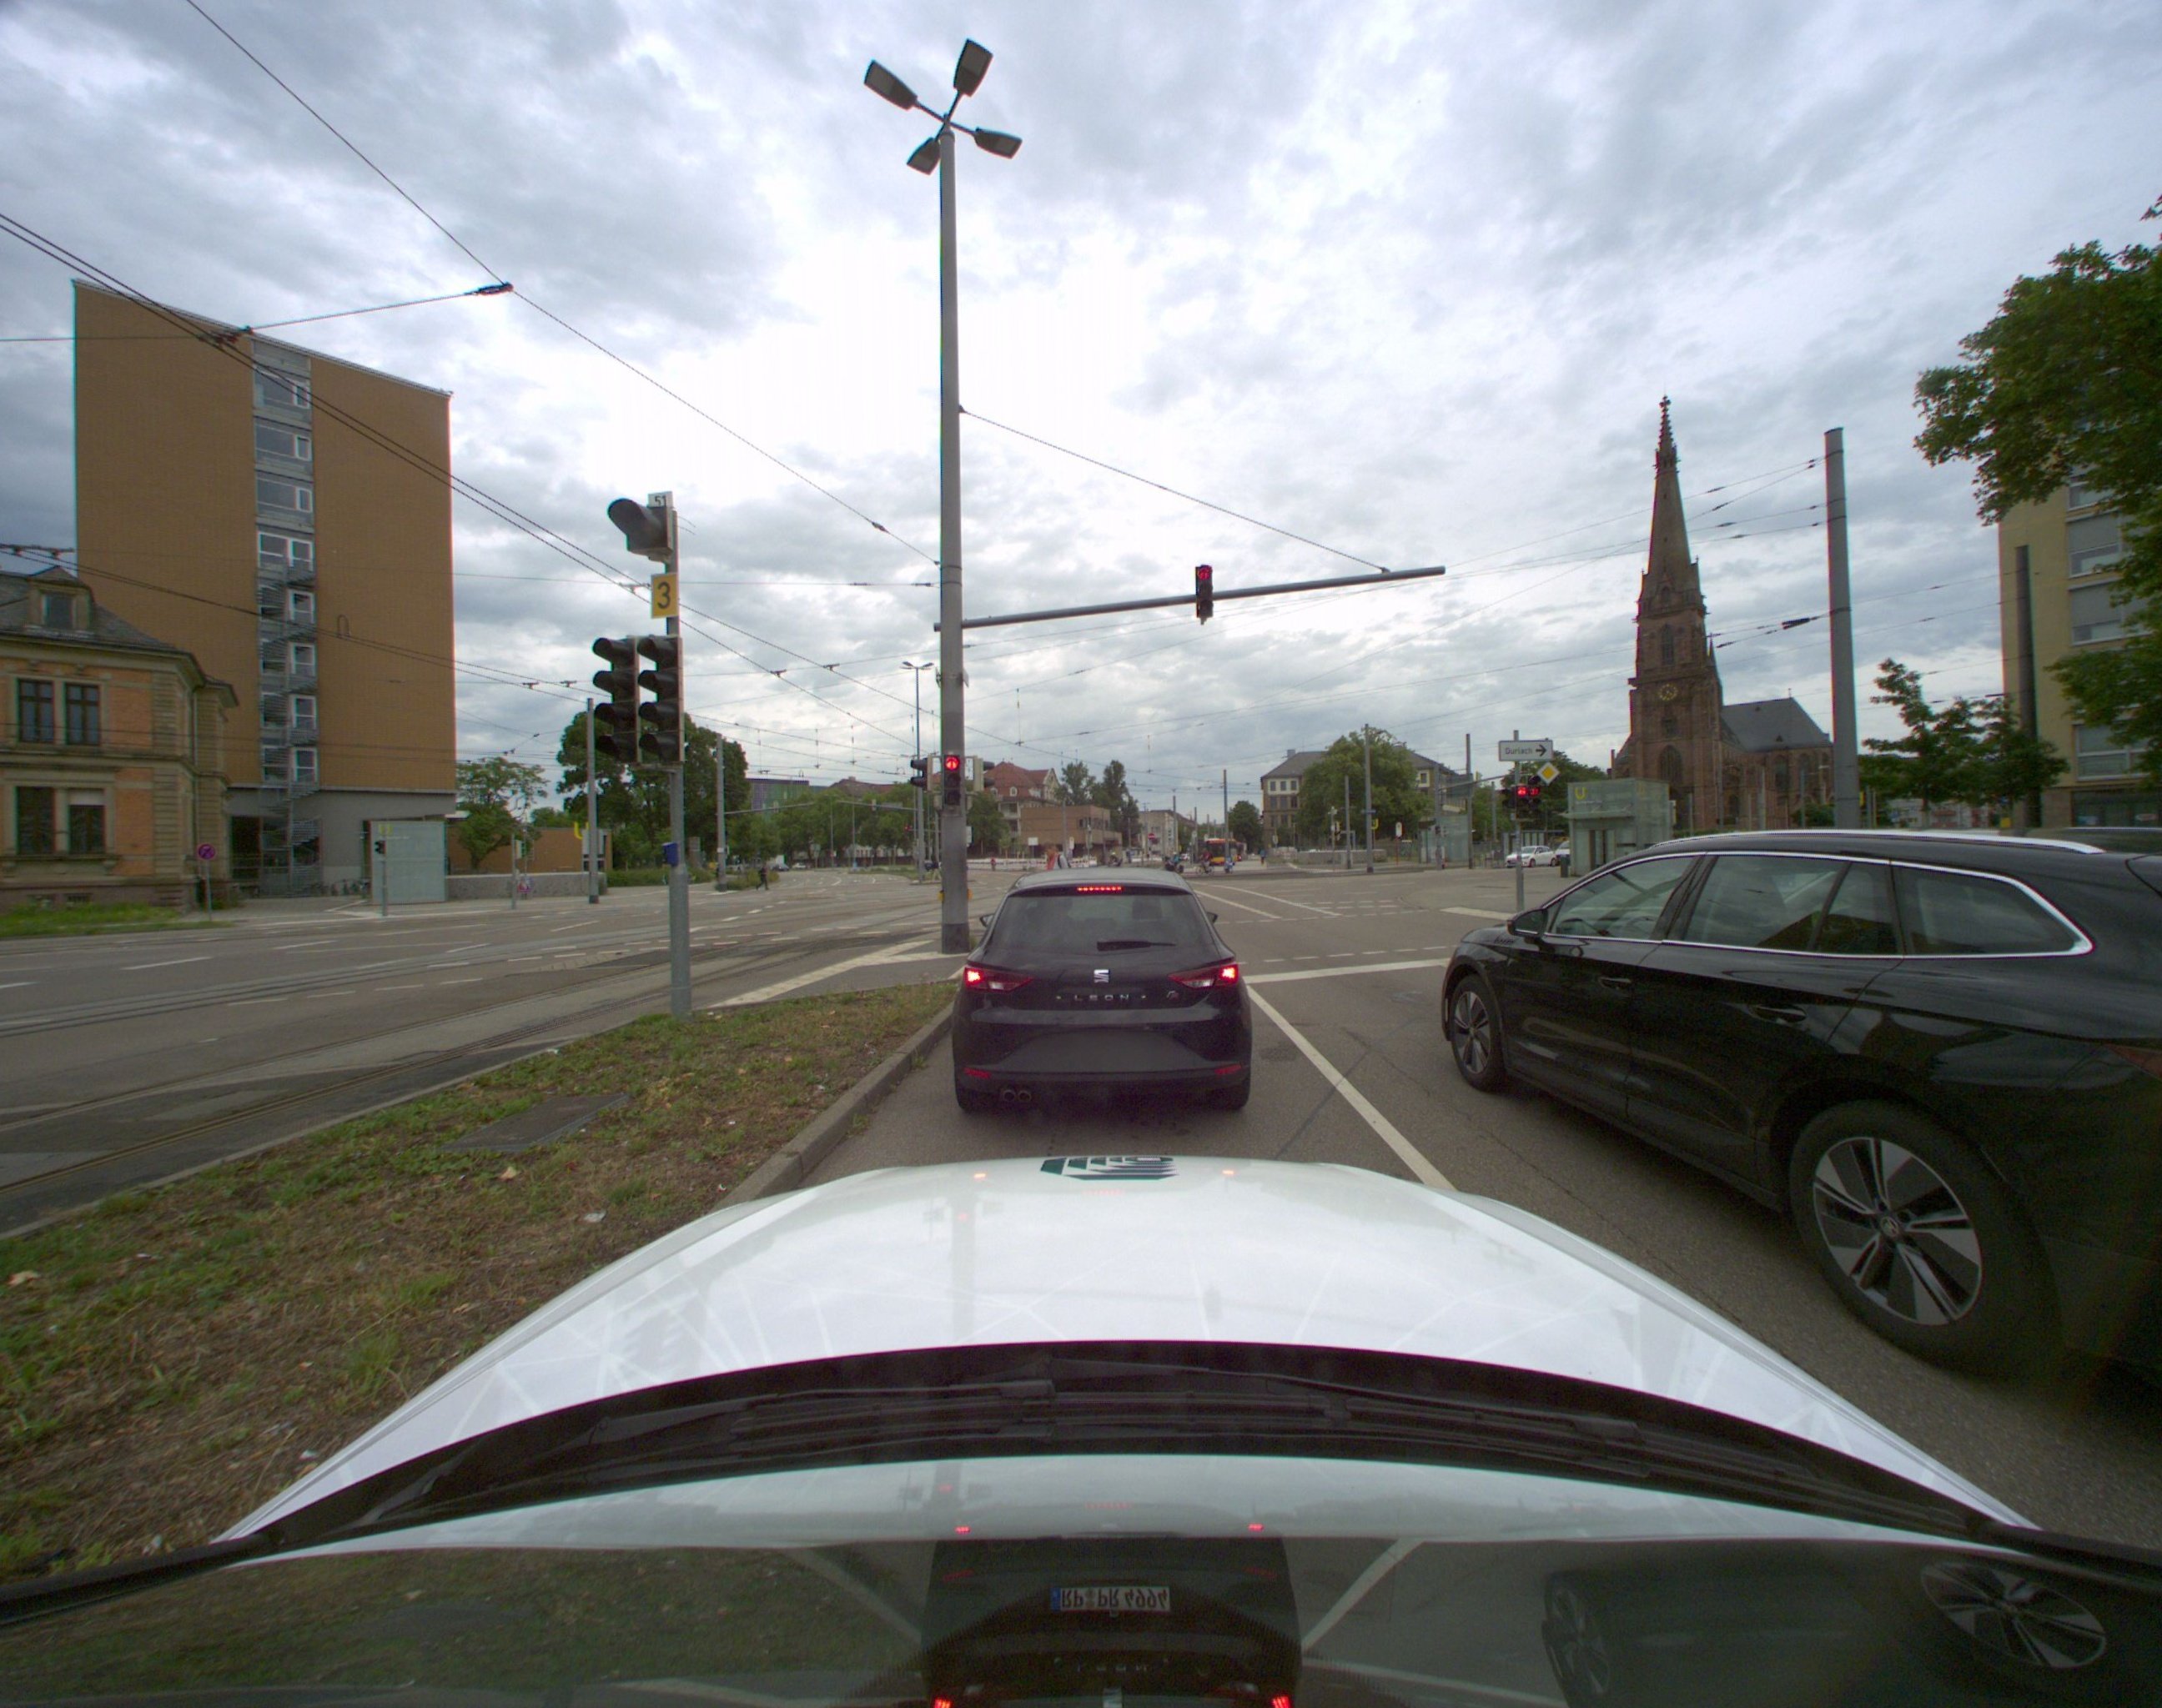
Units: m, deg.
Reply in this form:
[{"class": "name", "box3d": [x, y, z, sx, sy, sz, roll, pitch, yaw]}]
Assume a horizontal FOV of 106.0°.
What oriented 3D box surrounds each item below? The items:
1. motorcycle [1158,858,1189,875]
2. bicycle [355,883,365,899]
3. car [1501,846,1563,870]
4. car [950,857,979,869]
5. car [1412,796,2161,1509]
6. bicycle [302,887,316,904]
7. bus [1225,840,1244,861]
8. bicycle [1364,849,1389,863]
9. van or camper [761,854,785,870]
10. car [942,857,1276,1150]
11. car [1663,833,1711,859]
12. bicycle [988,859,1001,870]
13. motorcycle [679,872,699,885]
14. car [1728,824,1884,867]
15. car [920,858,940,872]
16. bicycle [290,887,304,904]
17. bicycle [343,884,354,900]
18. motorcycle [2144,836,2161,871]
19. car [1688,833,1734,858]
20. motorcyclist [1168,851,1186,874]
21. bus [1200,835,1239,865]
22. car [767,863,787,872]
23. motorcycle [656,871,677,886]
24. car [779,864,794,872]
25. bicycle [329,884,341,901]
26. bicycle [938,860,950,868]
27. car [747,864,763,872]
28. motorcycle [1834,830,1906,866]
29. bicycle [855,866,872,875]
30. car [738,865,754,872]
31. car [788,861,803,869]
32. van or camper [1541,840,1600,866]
[{"class": "motorcycle", "box3d": [6.667, 0.888, 58.739, 2.149, 1.139, 0.737, -1, 0, -31]}, {"class": "bicycle", "box3d": [-50.240, 2.592, 56.725, 0.484, 1.049, 1.411, -1, 0, -41]}, {"class": "car", "box3d": [30.397, 0.265, 54.857, 4.011, 1.464, 1.758, -1, -2, -30]}, {"class": "car", "box3d": [-17.609, 1.340, 123.661, 3.970, 1.684, 2.001, -2, -1, 3]}, {"class": "car", "box3d": [3.320, 0.651, 3.770, 1.771, 1.597, 4.510, -1, 0, 1]}, {"class": "bicycle", "box3d": [-52.088, 2.771, 54.960, 0.575, 1.106, 1.411, -1, 0, -41]}, {"class": "bus", "box3d": [25.736, -0.600, 136.283, 2.635, 3.283, 11.034, -2, 0, 13]}, {"class": "bicycle", "box3d": [29.659, 0.177, 81.724, 2.248, 1.331, 0.709, -2, -2, 9]}, {"class": "van or camper", "box3d": [-62.820, 1.723, 165.997, 5.434, 3.124, 2.410, -2, 0, 43]}, {"class": "car", "box3d": [0.087, 0.772, 6.107, 1.700, 1.449, 3.809, -1, 0, -2]}, {"class": "car", "box3d": [49.707, -0.639, 66.751, 4.017, 2.013, 1.978, -1, 0, -36]}, {"class": "bicycle", "box3d": [-9.866, 1.212, 92.978, 0.895, 1.178, 2.287, -1, 0, -20]}, {"class": "motorcycle", "box3d": [-34.417, 2.163, 71.507, 0.506, 1.111, 1.751, -2, 0, 15]}, {"class": "car", "box3d": [37.657, -0.397, 42.515, 5.672, 2.014, 2.038, -2, -2, 19]}, {"class": "car", "box3d": [-19.566, 1.375, 105.424, 2.000, 1.684, 3.973, -1, -1, -20]}, {"class": "bicycle", "box3d": [-52.537, 2.784, 54.555, 0.575, 1.106, 1.411, -1, 0, -41]}, {"class": "bicycle", "box3d": [-50.653, 2.623, 56.286, 0.512, 1.049, 1.411, -1, 0, -41]}, {"class": "motorcycle", "box3d": [31.933, -0.020, 23.794, 0.863, 0.997, 1.021, -1, 0, 42]}, {"class": "car", "box3d": [53.570, -0.732, 69.188, 4.017, 2.013, 1.978, -1, 0, -36]}, {"class": "motorcyclist", "box3d": [6.940, 0.637, 58.907, 0.984, 1.649, 0.742, -1, -1, -31]}, {"class": "bus", "box3d": [15.967, -0.436, 93.273, 2.938, 3.123, 11.589, -2, 0, 16]}, {"class": "car", "box3d": [-53.996, 2.395, 144.713, 1.792, 1.464, 3.950, -1, 0, -45]}, {"class": "motorcycle", "box3d": [-35.445, 2.079, 69.603, 1.481, 1.268, 0.505, -1, 0, -44]}, {"class": "car", "box3d": [-62.270, 2.925, 172.224, 1.790, 1.464, 3.955, -1, 0, -38]}, {"class": "bicycle", "box3d": [-51.157, 2.632, 55.842, 0.575, 1.106, 1.411, -1, 0, -41]}, {"class": "bicycle", "box3d": [-21.718, 1.626, 129.138, 0.429, 1.236, 1.838, -3, -2, 45]}, {"class": "car", "box3d": [-68.747, 2.934, 171.597, 1.792, 1.464, 3.951, -1, 0, -44]}, {"class": "motorcycle", "box3d": [26.949, -0.214, 27.810, 2.386, 1.168, 0.762, -1, 0, -19]}, {"class": "bicycle", "box3d": [-34.370, 2.604, 128.878, 0.930, 1.179, 2.747, -2, 0, 30]}, {"class": "car", "box3d": [-73.812, 3.085, 179.406, 3.949, 1.464, 1.792, -1, 0, 43]}, {"class": "car", "box3d": [-57.351, 2.229, 163.796, 1.790, 1.464, 3.956, -1, 0, -36]}, {"class": "van or camper", "box3d": [35.273, -0.094, 58.678, 4.321, 1.742, 1.979, -1, -2, -34]}]
